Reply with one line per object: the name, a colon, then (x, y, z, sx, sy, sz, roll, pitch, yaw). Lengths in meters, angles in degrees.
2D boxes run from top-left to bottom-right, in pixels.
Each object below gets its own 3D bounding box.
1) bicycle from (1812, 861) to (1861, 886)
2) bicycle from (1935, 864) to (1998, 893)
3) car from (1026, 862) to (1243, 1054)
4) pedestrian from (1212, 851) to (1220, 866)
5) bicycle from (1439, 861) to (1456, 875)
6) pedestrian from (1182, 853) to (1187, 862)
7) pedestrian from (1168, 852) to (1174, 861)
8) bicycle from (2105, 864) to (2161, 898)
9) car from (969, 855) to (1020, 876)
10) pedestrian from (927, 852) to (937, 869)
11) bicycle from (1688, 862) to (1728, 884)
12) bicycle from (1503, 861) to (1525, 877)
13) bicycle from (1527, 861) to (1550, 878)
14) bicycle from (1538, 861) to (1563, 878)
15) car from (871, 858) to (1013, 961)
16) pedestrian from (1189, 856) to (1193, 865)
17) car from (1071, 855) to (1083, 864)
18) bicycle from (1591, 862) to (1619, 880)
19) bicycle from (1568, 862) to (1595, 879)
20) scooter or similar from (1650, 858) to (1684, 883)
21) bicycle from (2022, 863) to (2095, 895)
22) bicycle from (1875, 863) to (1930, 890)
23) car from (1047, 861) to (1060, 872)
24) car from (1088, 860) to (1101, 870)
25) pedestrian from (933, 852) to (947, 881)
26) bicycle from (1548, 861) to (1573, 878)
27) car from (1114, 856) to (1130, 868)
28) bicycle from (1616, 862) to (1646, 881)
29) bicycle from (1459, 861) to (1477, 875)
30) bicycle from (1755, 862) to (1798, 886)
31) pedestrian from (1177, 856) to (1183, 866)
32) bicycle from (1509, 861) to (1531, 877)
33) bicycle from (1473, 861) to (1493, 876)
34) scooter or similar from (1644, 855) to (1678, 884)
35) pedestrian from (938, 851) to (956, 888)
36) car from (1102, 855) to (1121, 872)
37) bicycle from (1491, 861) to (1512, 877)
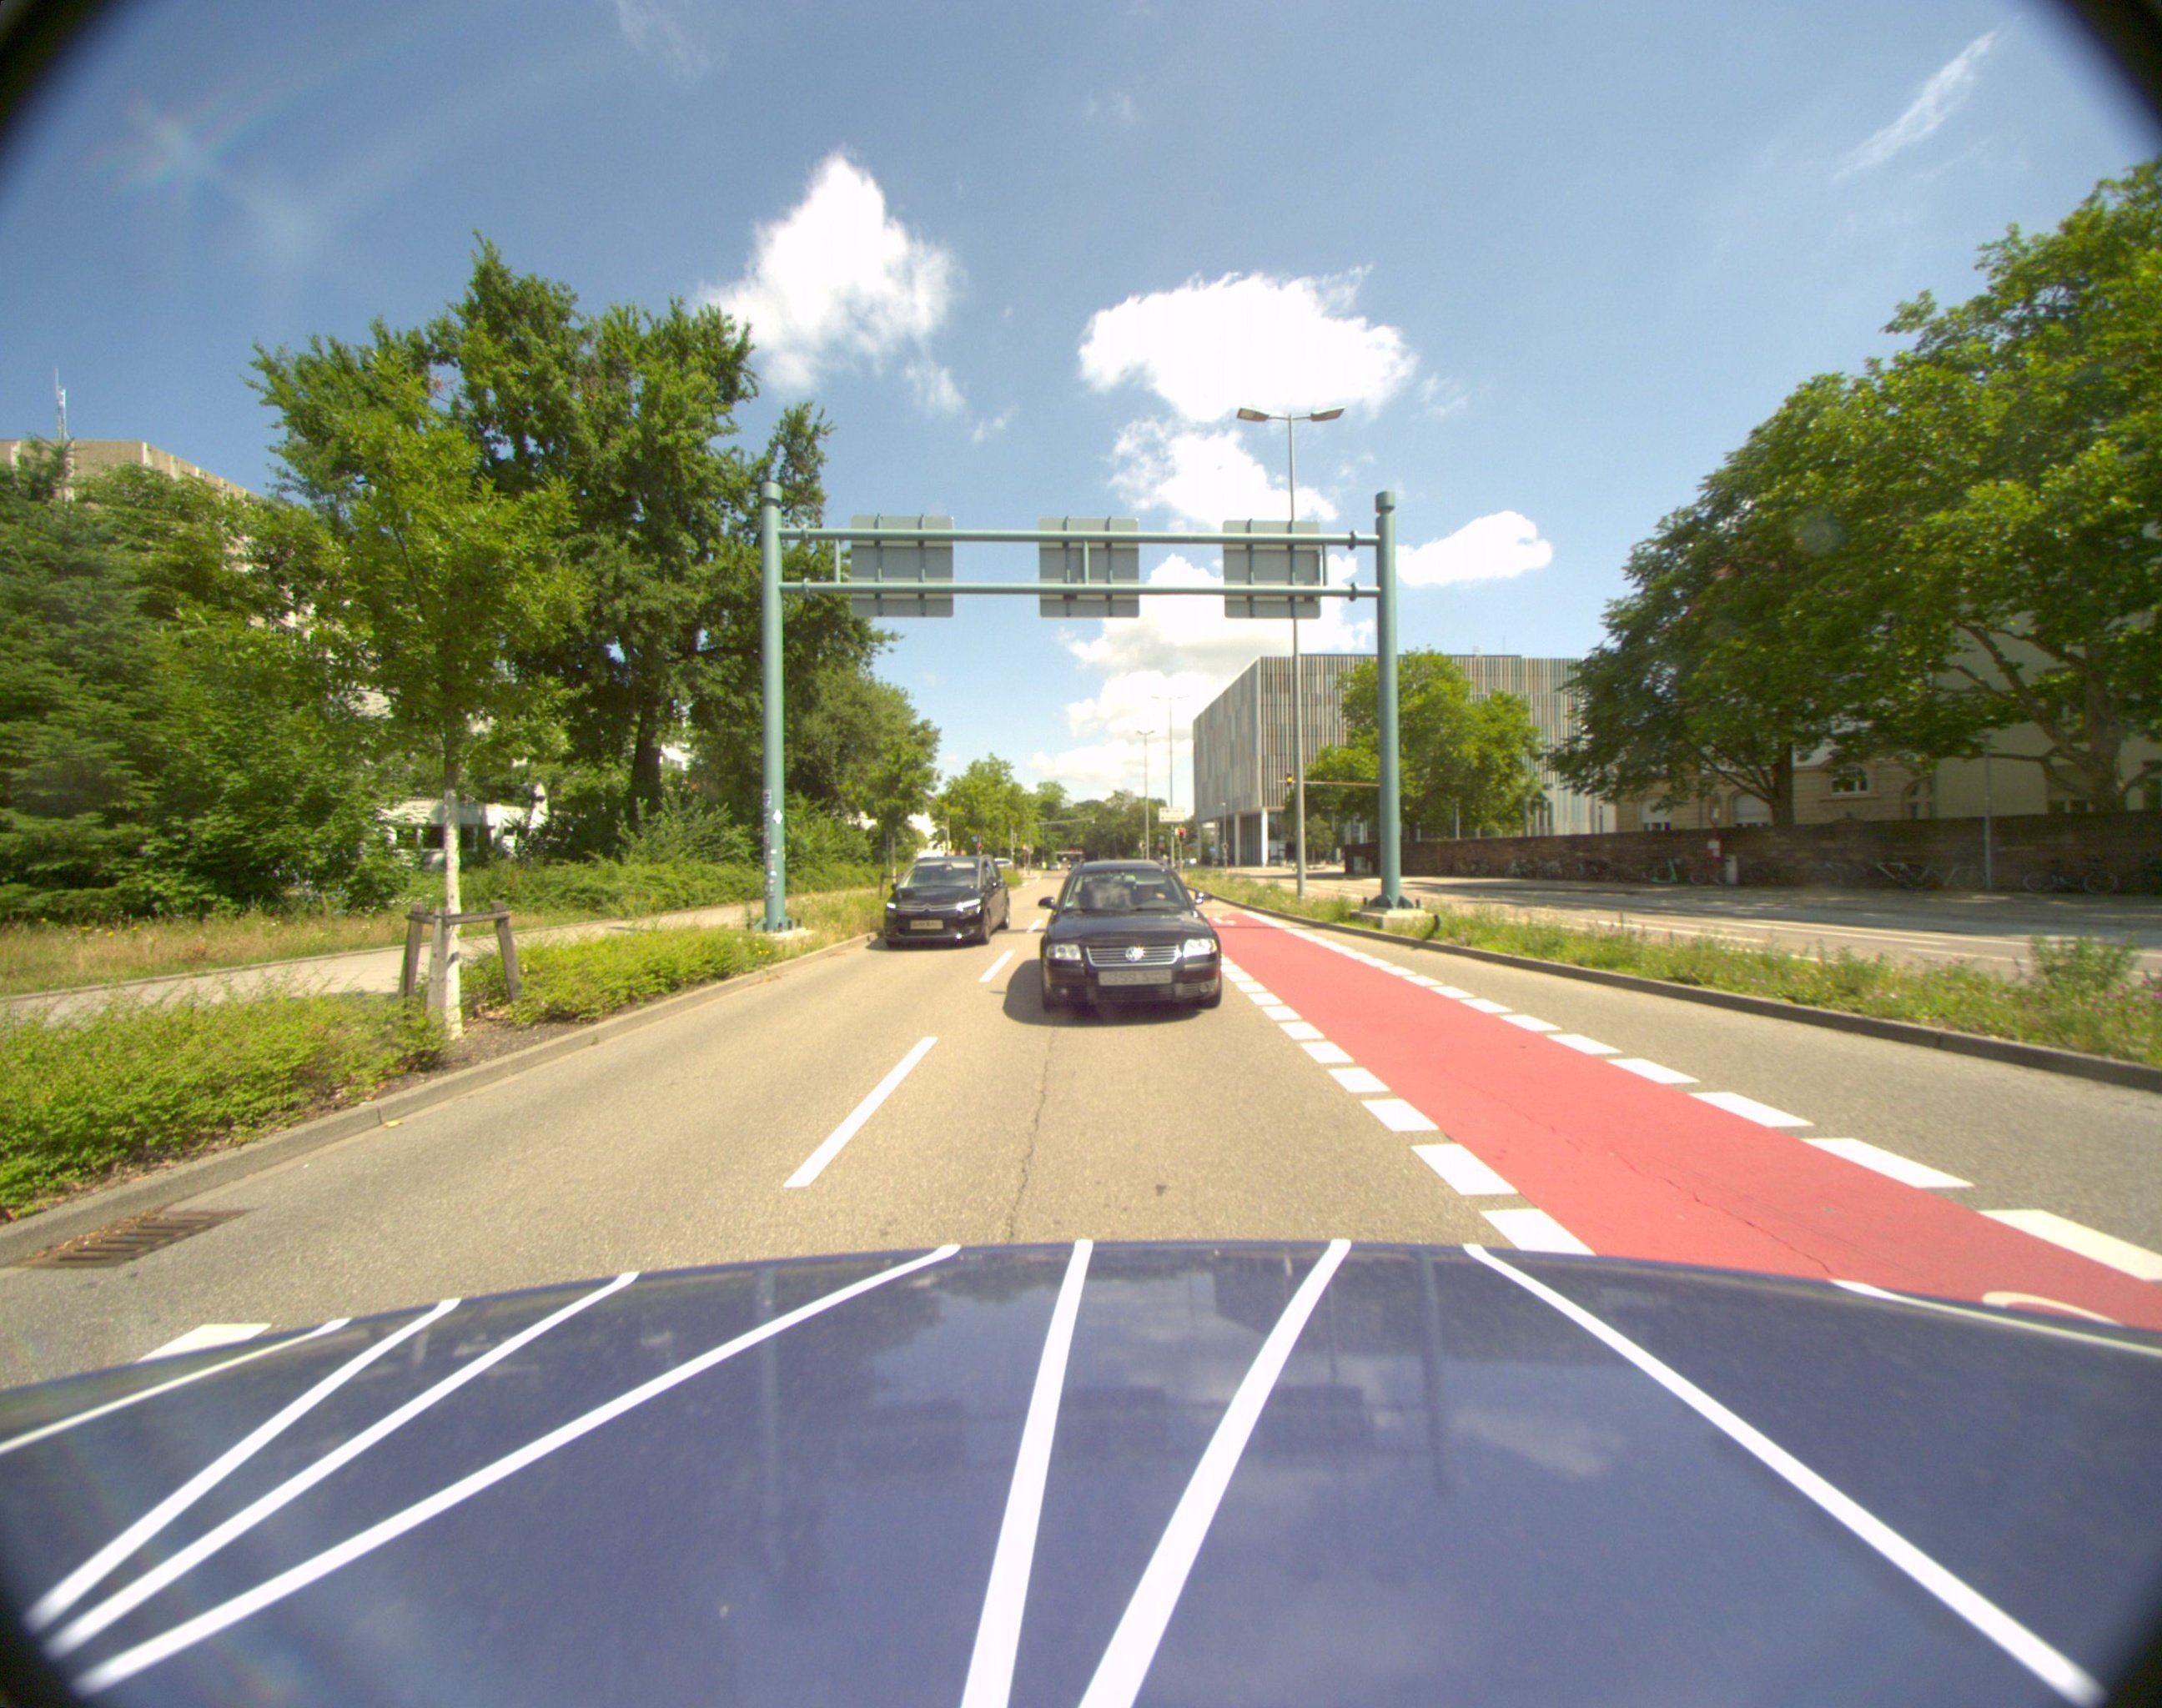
bicycle: (25.699, 0.648, 25.864, 0.265, 0.826, 1.235, -1, 0, -11)
bicycle: (26.242, 0.723, 22.539, 0.265, 0.826, 1.235, -1, 0, -11)
car: (0.470, 0.883, 8.532, 1.723, 1.472, 4.594, -3, 0, 1)
pedestrian: (18.654, 0.587, 104.799, 0.864, 2.002, 0.995, -1, 0, -1)
bicycle: (22.488, 0.856, 46.659, 0.265, 0.826, 1.235, -1, 0, -11)
pedestrian: (17.649, 0.580, 129.799, 0.696, 1.445, 0.689, -1, 0, 5)
pedestrian: (16.270, 0.468, 137.662, 0.864, 1.647, 0.995, -1, 0, -1)
bicycle: (27.127, 0.679, 19.357, 0.265, 0.826, 1.234, -1, 0, -13)
car: (-7.815, 1.034, 68.901, 4.477, 1.598, 1.817, -3, 0, -5)
pedestrian: (-14.223, 0.580, 72.646, 0.764, 1.601, 0.767, -1, 0, -3)
bicycle: (24.817, 0.741, 30.090, 0.265, 0.826, 1.233, -1, 0, -21)
bicycle: (22.851, 0.807, 40.094, 0.265, 0.826, 1.234, -1, 0, -11)
bicycle: (23.467, 0.789, 39.007, 0.265, 0.826, 1.235, -1, 0, -11)
bicycle: (23.184, 0.751, 37.536, 0.265, 0.826, 1.234, -1, 0, -11)
car: (-2.484, 0.928, 14.730, 1.816, 1.598, 4.479, -3, 0, 1)
pedestrian: (18.211, 1.022, 125.800, 0.696, 1.445, 0.689, -1, 0, 3)
car: (-0.663, 0.917, 123.816, 1.806, 1.361, 4.157, -1, 1, 1)
bicycle: (24.043, 0.785, 34.898, 0.265, 0.826, 1.235, -1, 0, -11)
bicycle: (23.828, 0.782, 36.202, 0.265, 0.826, 1.235, -1, 0, -11)
scooter or similar: (24.573, 0.677, 31.860, 0.266, 1.014, 1.140, -1, 0, -22)
bicycle: (26.648, 0.670, 20.736, 0.265, 0.826, 1.234, -1, 0, -13)
bicycle: (25.974, 0.702, 24.048, 0.265, 0.826, 1.235, -1, 0, -11)
car: (-4.333, 1.951, 122.142, 1.816, 1.598, 4.479, -3, 0, 1)
car: (1.957, 1.609, 109.790, 1.806, 1.361, 4.157, -1, 1, 1)
pedestrian: (-10.244, 0.896, 55.094, 0.847, 2.026, 0.900, -1, 0, -21)
bicycle: (23.662, 0.751, 37.479, 0.265, 0.826, 1.235, -1, 0, -11)
car: (6.128, 1.137, 114.226, 1.999, 1.701, 4.512, -1, 0, -1)
bicycle: (24.150, 0.773, 33.362, 0.265, 0.826, 1.235, -1, 0, -11)
bicycle: (22.801, 0.817, 44.784, 0.265, 0.826, 1.235, -1, 0, -11)
bicycle: (25.188, 0.709, 27.530, 0.265, 0.826, 1.235, -1, 0, -11)
pedestrian: (14.819, 1.033, 113.458, 0.697, 1.445, 0.688, -1, 0, -6)
bicycle: (23.358, 0.792, 40.418, 0.265, 0.826, 1.234, -1, 0, -11)
bicycle: (22.972, 0.816, 43.449, 0.265, 0.826, 1.234, -1, 0, -11)
scooter or similar: (23.834, 0.624, 31.224, 0.265, 1.182, 1.234, -1, 0, -11)
pedestrian: (-6.349, 0.732, 36.033, 0.639, 1.754, 0.886, -1, 0, 1)
car: (3.067, 0.953, 76.860, 1.723, 1.545, 4.594, -3, 0, 1)
bicycle: (23.151, 0.820, 41.813, 0.265, 0.826, 1.234, -1, 0, -11)
